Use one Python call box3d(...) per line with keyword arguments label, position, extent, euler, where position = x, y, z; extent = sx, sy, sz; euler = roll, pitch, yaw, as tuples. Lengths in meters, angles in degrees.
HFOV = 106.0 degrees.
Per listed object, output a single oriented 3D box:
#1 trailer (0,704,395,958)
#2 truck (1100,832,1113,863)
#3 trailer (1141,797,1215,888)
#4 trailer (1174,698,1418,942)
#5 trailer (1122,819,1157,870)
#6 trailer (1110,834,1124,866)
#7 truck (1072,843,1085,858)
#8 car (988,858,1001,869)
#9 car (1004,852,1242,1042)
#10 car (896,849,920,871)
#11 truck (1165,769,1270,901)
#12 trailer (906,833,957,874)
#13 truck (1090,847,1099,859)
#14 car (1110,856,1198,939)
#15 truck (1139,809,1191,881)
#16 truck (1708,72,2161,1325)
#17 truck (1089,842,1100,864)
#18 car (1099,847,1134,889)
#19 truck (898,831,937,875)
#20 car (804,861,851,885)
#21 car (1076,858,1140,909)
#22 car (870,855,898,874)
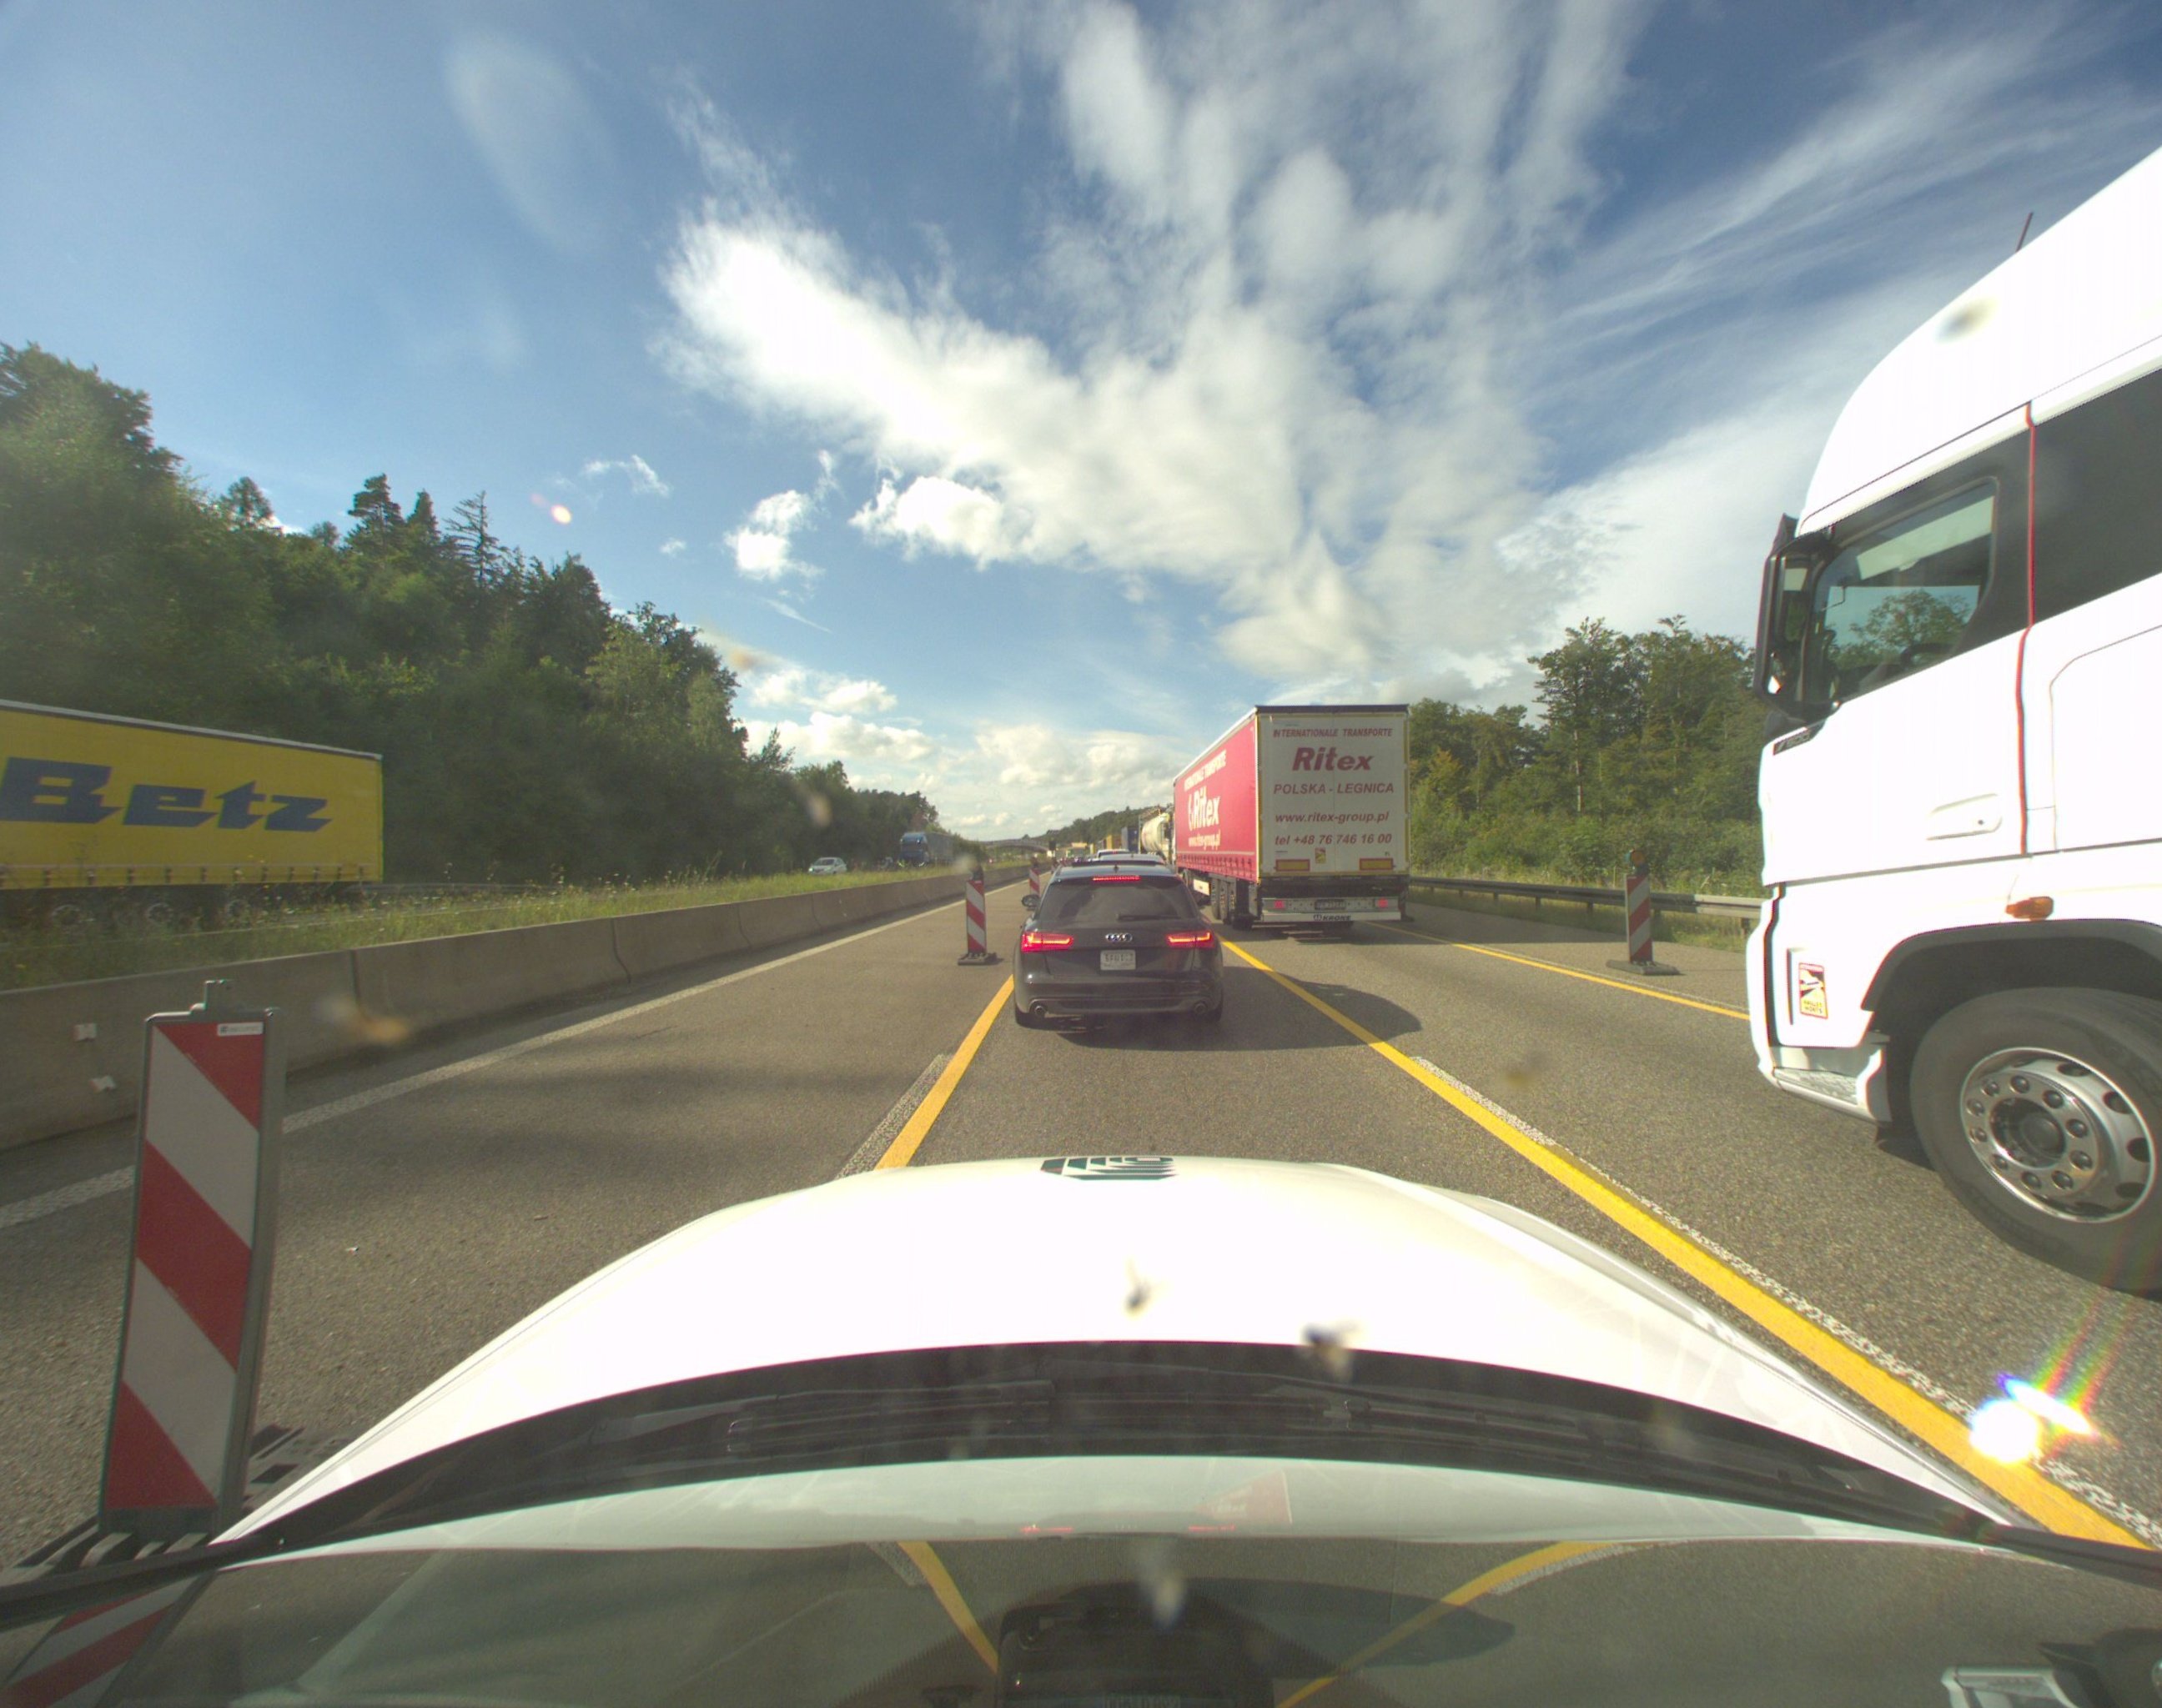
box3d(label="trailer", position=(-18.113, -0.350, 12.581), extent=(2.817, 3.922, 13.945), euler=(0, -1, 2))
box3d(label="truck", position=(4.239, -1.047, 136.819), extent=(1.987, 4.914, 9.562), euler=(0, 0, 0))
box3d(label="trailer", position=(4.705, -0.484, 41.920), extent=(2.634, 3.943, 12.602), euler=(0, 0, 2))
box3d(label="trailer", position=(4.269, -0.551, 19.998), extent=(2.690, 3.969, 13.420), euler=(0, 0, 1))
box3d(label="trailer", position=(5.346, -0.810, 76.083), extent=(2.795, 4.413, 10.436), euler=(0, -1, 2))
box3d(label="trailer", position=(4.552, -0.480, 103.397), extent=(1.611, 3.918, 6.490), euler=(0, -1, 1))
box3d(label="truck", position=(-0.774, -1.084, 234.065), extent=(3.295, 4.175, 9.694), euler=(0, -1, -2))
box3d(label="car", position=(-14.404, 1.605, 135.465), extent=(1.709, 1.706, 3.524), euler=(0, -1, 2))
box3d(label="car", position=(0.388, 0.749, 8.375), extent=(1.842, 1.463, 4.001), euler=(-1, -1, 2))
box3d(label="car", position=(-20.838, 0.710, 98.138), extent=(2.247, 2.643, 5.009), euler=(0, -1, -6))
box3d(label="truck", position=(4.409, -0.581, 27.379), extent=(2.658, 3.959, 5.711), euler=(0, 0, 1))
box3d(label="trailer", position=(-15.995, -0.024, 88.223), extent=(2.610, 4.141, 13.377), euler=(0, 0, 2))
box3d(label="truck", position=(3.793, -0.248, 233.183), extent=(2.558, 3.466, 7.398), euler=(0, -1, 0))
box3d(label="car", position=(1.338, 0.782, 15.895), extent=(1.518, 1.439, 3.286), euler=(0, -1, 2))
box3d(label="truck", position=(4.886, -0.466, 48.341), extent=(2.649, 3.972, 5.780), euler=(0, -1, 2))
box3d(label="truck", position=(4.471, -0.476, 1.361), extent=(2.485, 3.780, 5.792), euler=(-1, 0, 2))
box3d(label="truck", position=(2.880, -0.166, 168.524), extent=(2.130, 4.257, 7.073), euler=(0, -1, 1))
box3d(label="car", position=(1.621, 0.640, 37.541), extent=(1.575, 1.837, 3.113), euler=(0, -1, 2))
box3d(label="truck", position=(-16.243, -0.064, 81.110), extent=(2.628, 4.189, 5.469), euler=(0, 0, 2))
box3d(label="car", position=(-16.855, 1.229, 54.281), extent=(1.780, 1.560, 4.001), euler=(0, -1, 2))
box3d(label="car", position=(0.801, 0.817, 24.104), extent=(1.745, 1.397, 3.609), euler=(0, -1, 2))
box3d(label="car", position=(-21.345, 1.140, 88.278), extent=(1.986, 2.014, 4.001), euler=(0, -1, 2))
